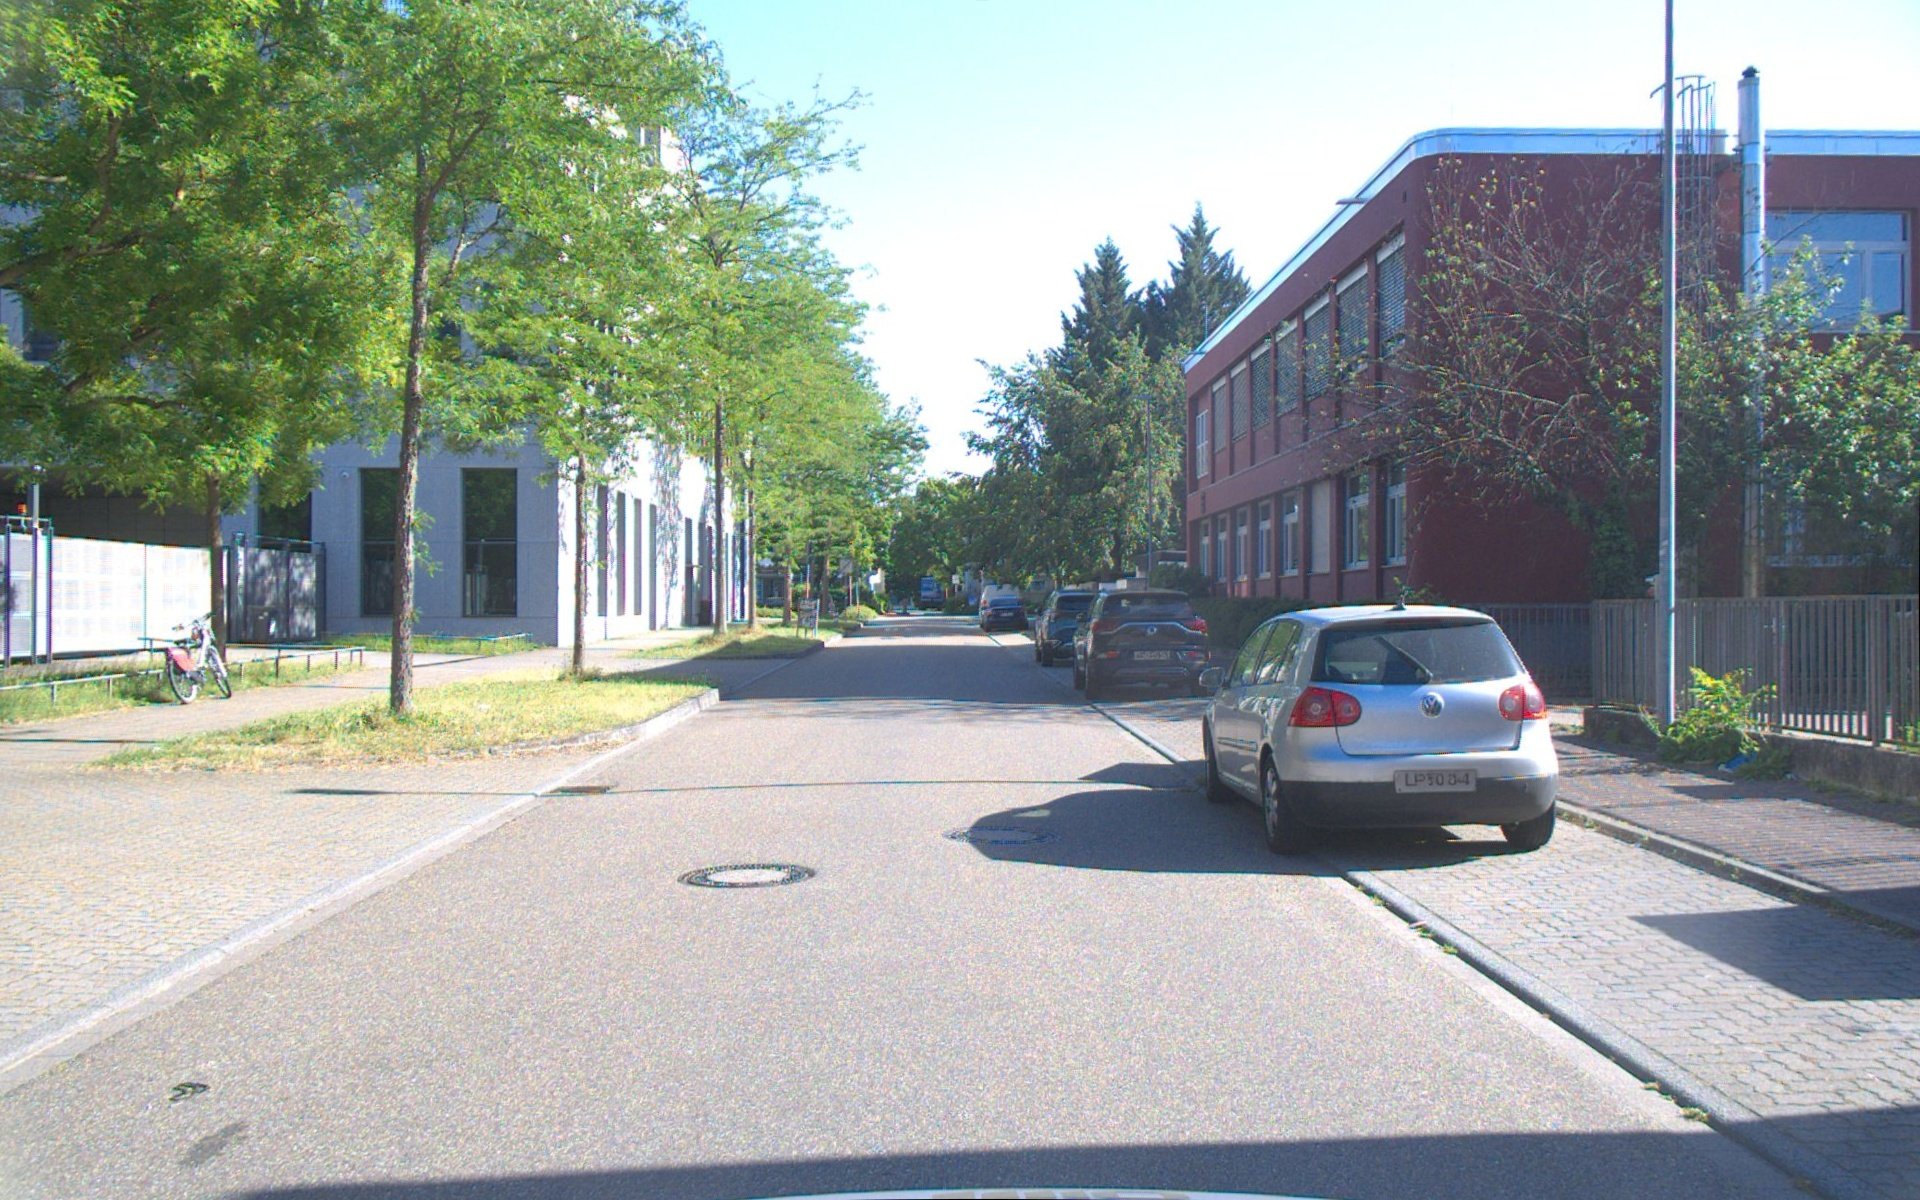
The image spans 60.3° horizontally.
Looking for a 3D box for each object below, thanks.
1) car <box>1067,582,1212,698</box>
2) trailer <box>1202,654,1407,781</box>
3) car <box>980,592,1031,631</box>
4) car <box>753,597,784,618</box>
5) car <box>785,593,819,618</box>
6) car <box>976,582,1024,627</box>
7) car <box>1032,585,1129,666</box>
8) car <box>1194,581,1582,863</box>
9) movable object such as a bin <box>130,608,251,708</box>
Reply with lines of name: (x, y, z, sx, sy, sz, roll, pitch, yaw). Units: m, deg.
car: (2.700, 0.566, 25.758, 1.800, 1.662, 4.201, 0, 0, 0)
trailer: (3.278, 1.036, 15.423, 1.344, 0.928, 2.937, 0, 0, 23)
car: (1.881, 0.461, 69.613, 1.953, 1.467, 4.000, -3, 0, 0)
car: (-12.839, 0.503, 111.139, 1.868, 1.365, 3.790, 0, 0, -4)
car: (-9.561, 0.322, 100.457, 1.954, 1.483, 3.790, 0, 0, -4)
car: (1.786, 0.199, 75.395, 1.953, 1.866, 4.000, -3, 0, 0)
car: (2.631, 0.528, 36.926, 1.817, 1.677, 4.000, -1, 0, 0)
car: (2.700, 0.680, 11.313, 1.626, 1.588, 3.934, 0, 0, 0)
movable object such as a bin: (-9.772, 0.711, 21.080, 0.649, 1.202, 1.935, 0, 0, -1)
